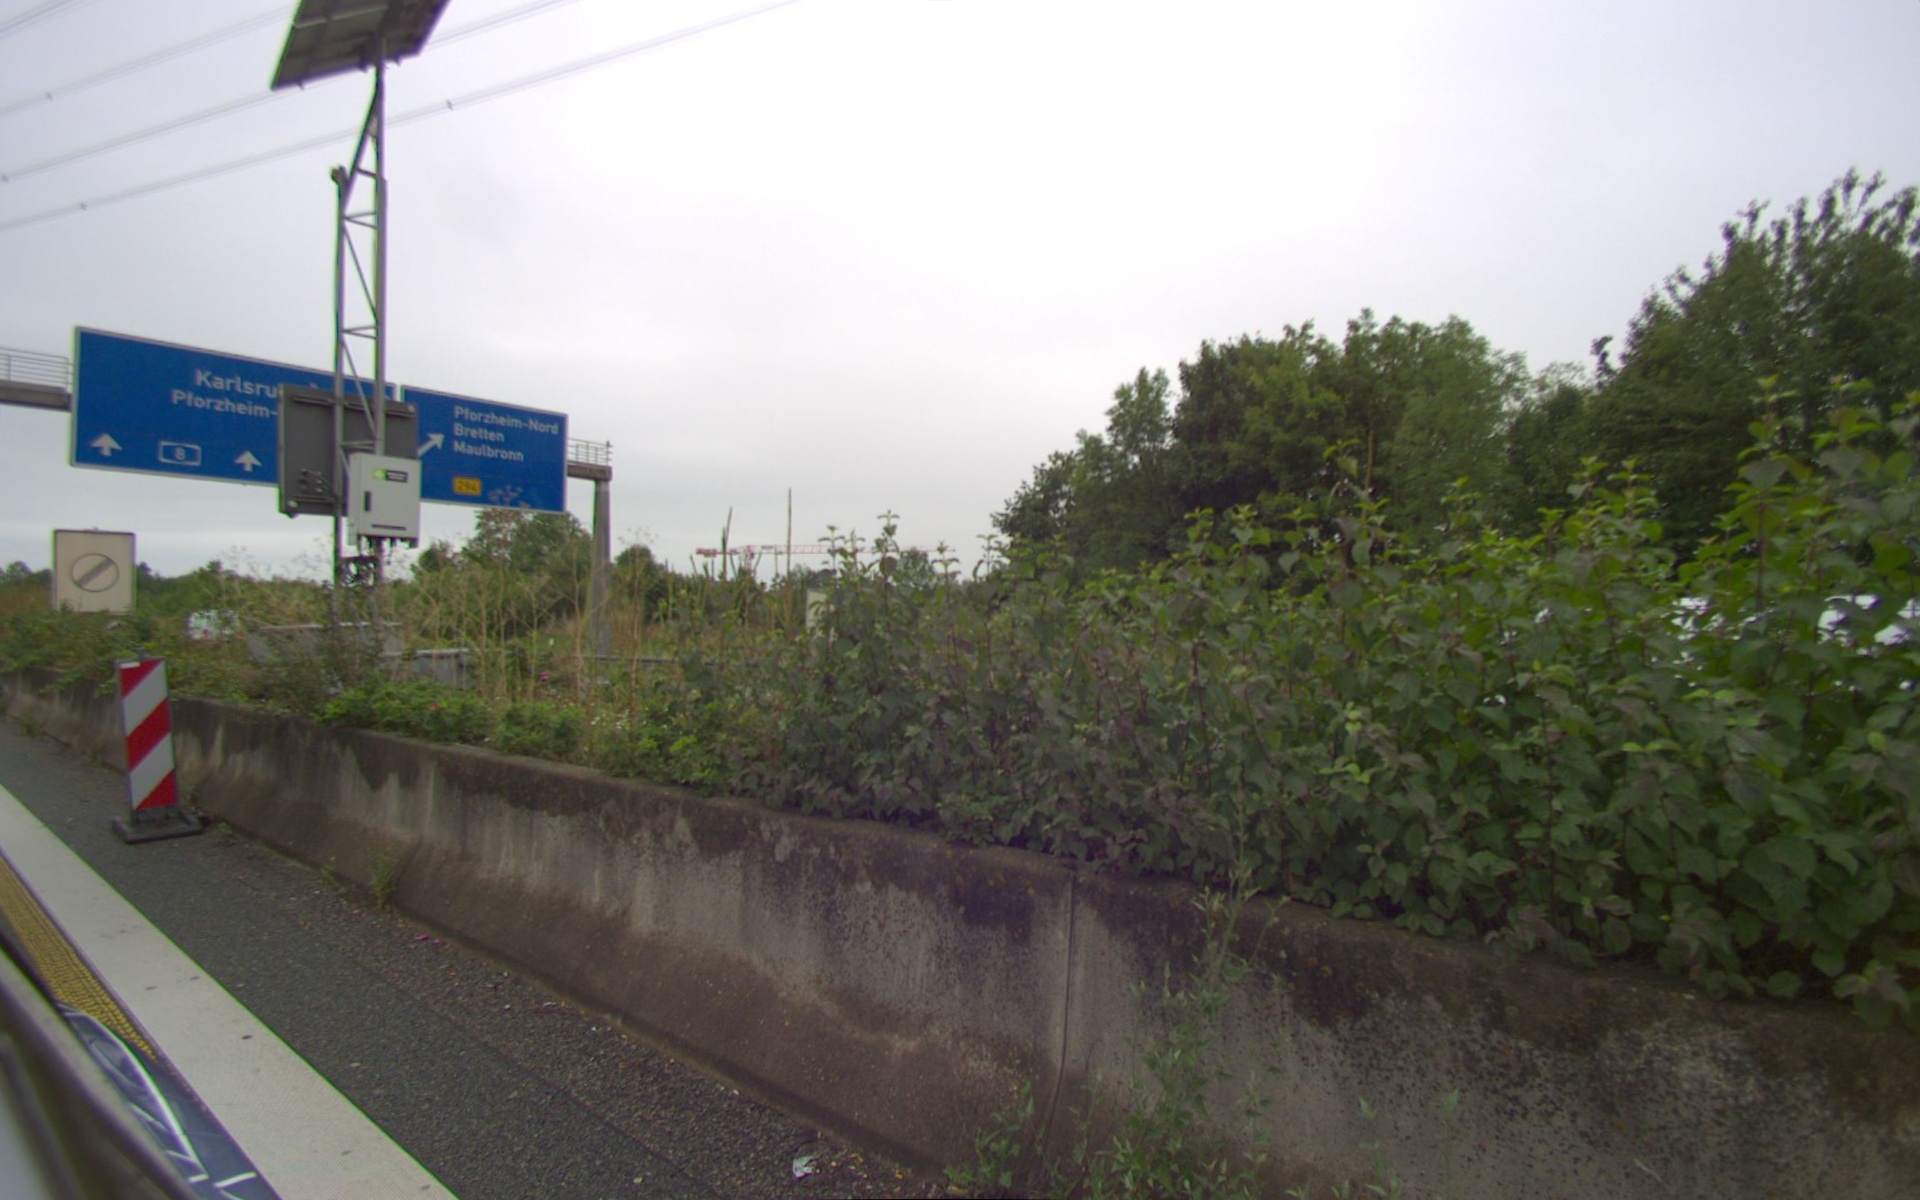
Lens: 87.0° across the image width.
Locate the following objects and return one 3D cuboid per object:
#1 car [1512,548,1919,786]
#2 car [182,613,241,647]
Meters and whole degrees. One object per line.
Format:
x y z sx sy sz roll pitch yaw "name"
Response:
7.559 0.494 8.245 5.057 1.740 1.973 -1 -1 41 "car"
-46.804 1.853 63.230 5.057 2.029 1.973 -1 -1 41 "car"
